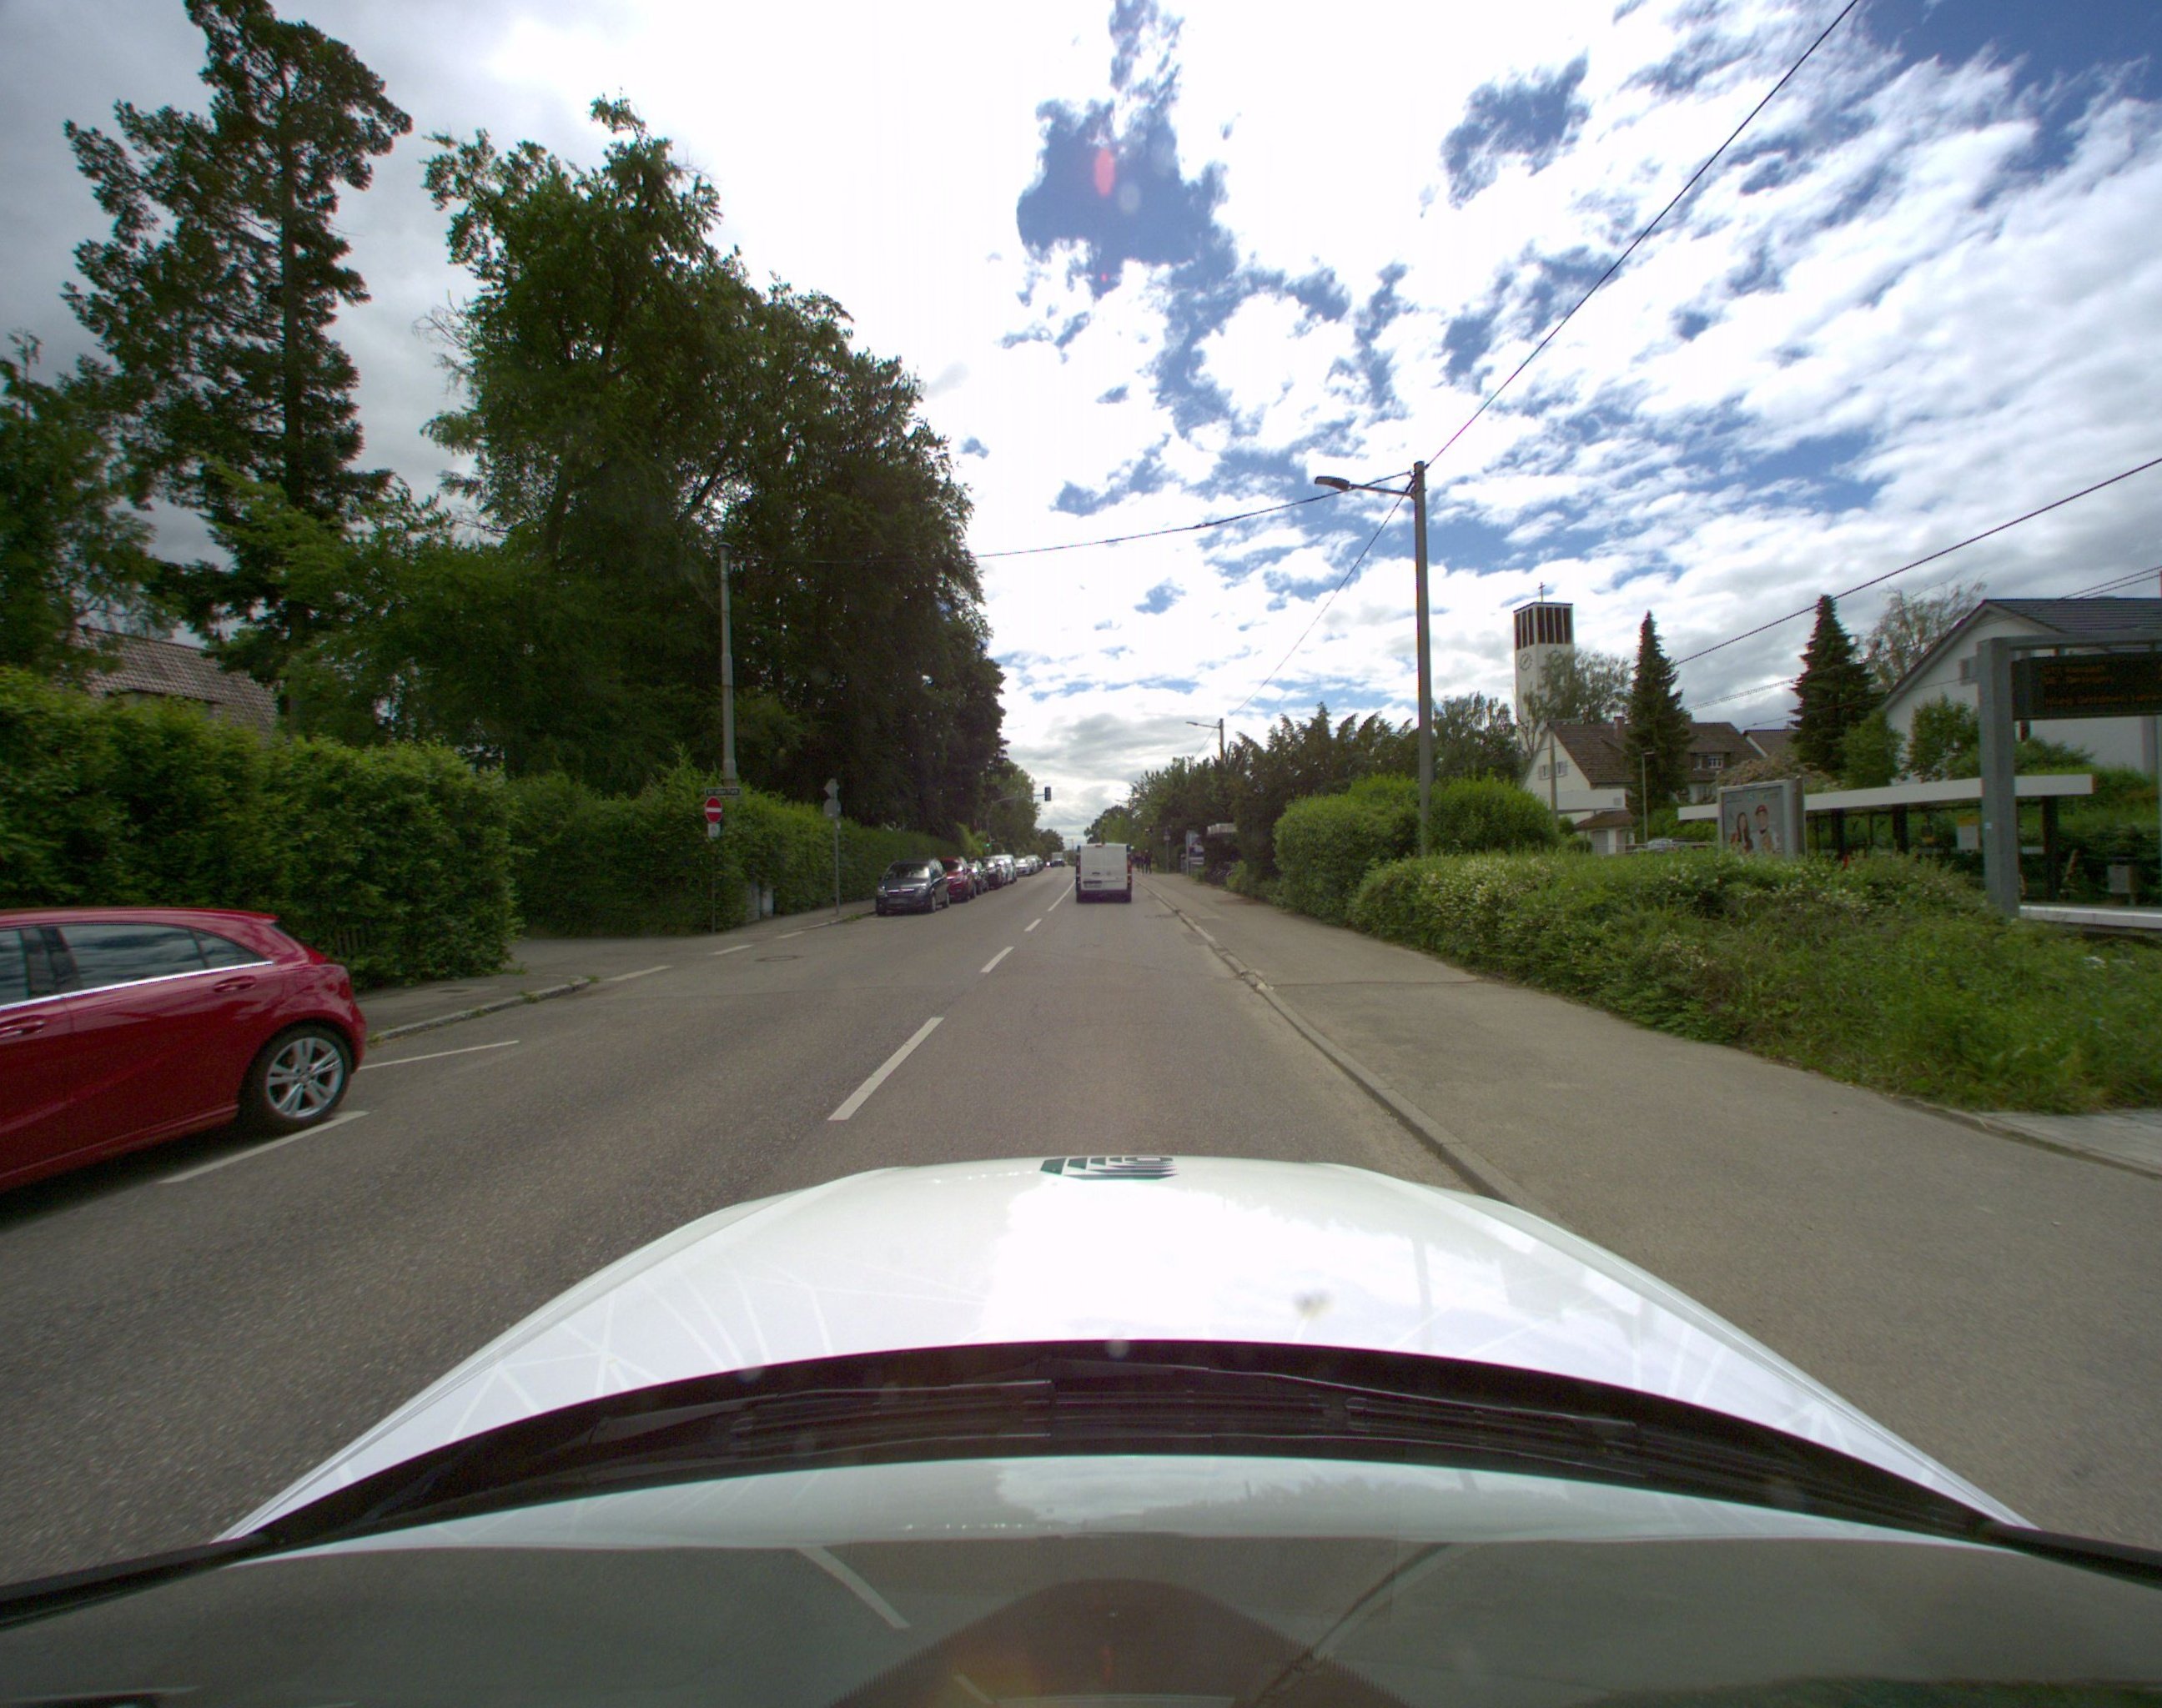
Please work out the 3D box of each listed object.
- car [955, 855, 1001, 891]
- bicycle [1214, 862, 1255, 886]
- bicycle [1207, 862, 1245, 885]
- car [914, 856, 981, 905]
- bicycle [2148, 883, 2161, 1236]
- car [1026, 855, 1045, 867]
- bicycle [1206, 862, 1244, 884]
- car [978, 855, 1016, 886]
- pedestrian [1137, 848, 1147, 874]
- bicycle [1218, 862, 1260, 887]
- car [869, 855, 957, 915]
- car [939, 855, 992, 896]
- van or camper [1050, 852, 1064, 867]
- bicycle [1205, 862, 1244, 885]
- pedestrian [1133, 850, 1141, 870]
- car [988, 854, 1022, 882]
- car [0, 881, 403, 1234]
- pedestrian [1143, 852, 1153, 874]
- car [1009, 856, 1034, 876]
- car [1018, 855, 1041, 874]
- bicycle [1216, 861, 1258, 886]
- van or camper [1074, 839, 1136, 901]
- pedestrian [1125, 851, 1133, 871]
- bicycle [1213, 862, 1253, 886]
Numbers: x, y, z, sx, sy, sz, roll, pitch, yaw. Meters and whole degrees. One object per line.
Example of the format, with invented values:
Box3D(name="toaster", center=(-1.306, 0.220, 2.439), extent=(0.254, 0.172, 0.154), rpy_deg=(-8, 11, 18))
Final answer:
Box3D(name="car", center=(-5.126, 0.905, 41.017), extent=(1.756, 1.656, 3.815), rpy_deg=(-2, 0, 0))
Box3D(name="bicycle", center=(6.765, 0.868, 35.837), extent=(1.693, 1.030, 0.491), rpy_deg=(-1, 0, 0))
Box3D(name="bicycle", center=(6.685, 0.882, 37.610), extent=(1.693, 1.030, 0.491), rpy_deg=(-1, 0, 0))
Box3D(name="car", center=(-4.934, 0.925, 30.526), extent=(1.756, 1.656, 4.060), rpy_deg=(-2, 0, 0))
Box3D(name="bicycle", center=(4.101, 0.728, 1.707), extent=(0.616, 1.246, 2.396), rpy_deg=(-1, 0, 1))
Box3D(name="car", center=(-5.396, 0.850, 96.975), extent=(1.773, 1.424, 4.002), rpy_deg=(-1, 0, 2))
Box3D(name="bicycle", center=(6.727, 0.891, 38.160), extent=(1.693, 1.030, 0.491), rpy_deg=(-1, 0, 0))
Box3D(name="car", center=(-4.772, 0.916, 46.711), extent=(1.756, 1.656, 3.815), rpy_deg=(-2, 0, 0))
Box3D(name="pedestrian", center=(4.393, 0.526, 58.388), extent=(0.676, 1.841, 0.647), rpy_deg=(-1, 0, 7))
Box3D(name="bicycle", center=(6.738, 0.875, 34.706), extent=(1.693, 1.030, 0.491), rpy_deg=(-1, 0, 0))
Box3D(name="car", center=(-5.056, 0.883, 25.042), extent=(1.756, 1.626, 4.185), rpy_deg=(-2, 0, 0))
Box3D(name="car", center=(-5.043, 0.890, 35.995), extent=(1.756, 1.656, 3.815), rpy_deg=(-2, 0, 0))
Box3D(name="van or camper", center=(-3.625, 0.807, 124.518), extent=(1.999, 2.261, 4.610), rpy_deg=(-2, 0, -1))
Box3D(name="bicycle", center=(6.528, 0.882, 37.093), extent=(1.693, 1.030, 0.491), rpy_deg=(-1, 0, 0))
Box3D(name="pedestrian", center=(4.981, 0.541, 72.468), extent=(0.649, 1.807, 0.564), rpy_deg=(-1, 0, -10))
Box3D(name="car", center=(-4.980, 0.899, 53.683), extent=(1.756, 1.756, 3.815), rpy_deg=(-2, 0, 0))
Box3D(name="car", center=(-5.629, 0.959, 3.567), extent=(1.756, 1.471, 4.185), rpy_deg=(-2, 0, 0))
Box3D(name="pedestrian", center=(5.152, 0.689, 62.490), extent=(0.671, 1.696, 0.523), rpy_deg=(-1, 0, 6))
Box3D(name="car", center=(-4.873, 0.944, 67.253), extent=(1.756, 1.557, 3.815), rpy_deg=(-2, 0, 0))
Box3D(name="car", center=(-4.825, 0.953, 76.290), extent=(1.773, 1.669, 4.002), rpy_deg=(-1, 0, 2))
Box3D(name="bicycle", center=(6.741, 0.848, 35.262), extent=(1.693, 1.030, 0.491), rpy_deg=(-1, 0, 0))
Box3D(name="van or camper", center=(0.844, 0.534, 28.408), extent=(1.986, 2.014, 4.447), rpy_deg=(0, -1, 2))
Box3D(name="pedestrian", center=(4.679, 0.674, 79.457), extent=(0.700, 1.851, 0.666), rpy_deg=(-1, 0, 1))
Box3D(name="bicycle", center=(6.799, 0.876, 36.401), extent=(1.693, 1.030, 0.491), rpy_deg=(-1, 0, 0))
